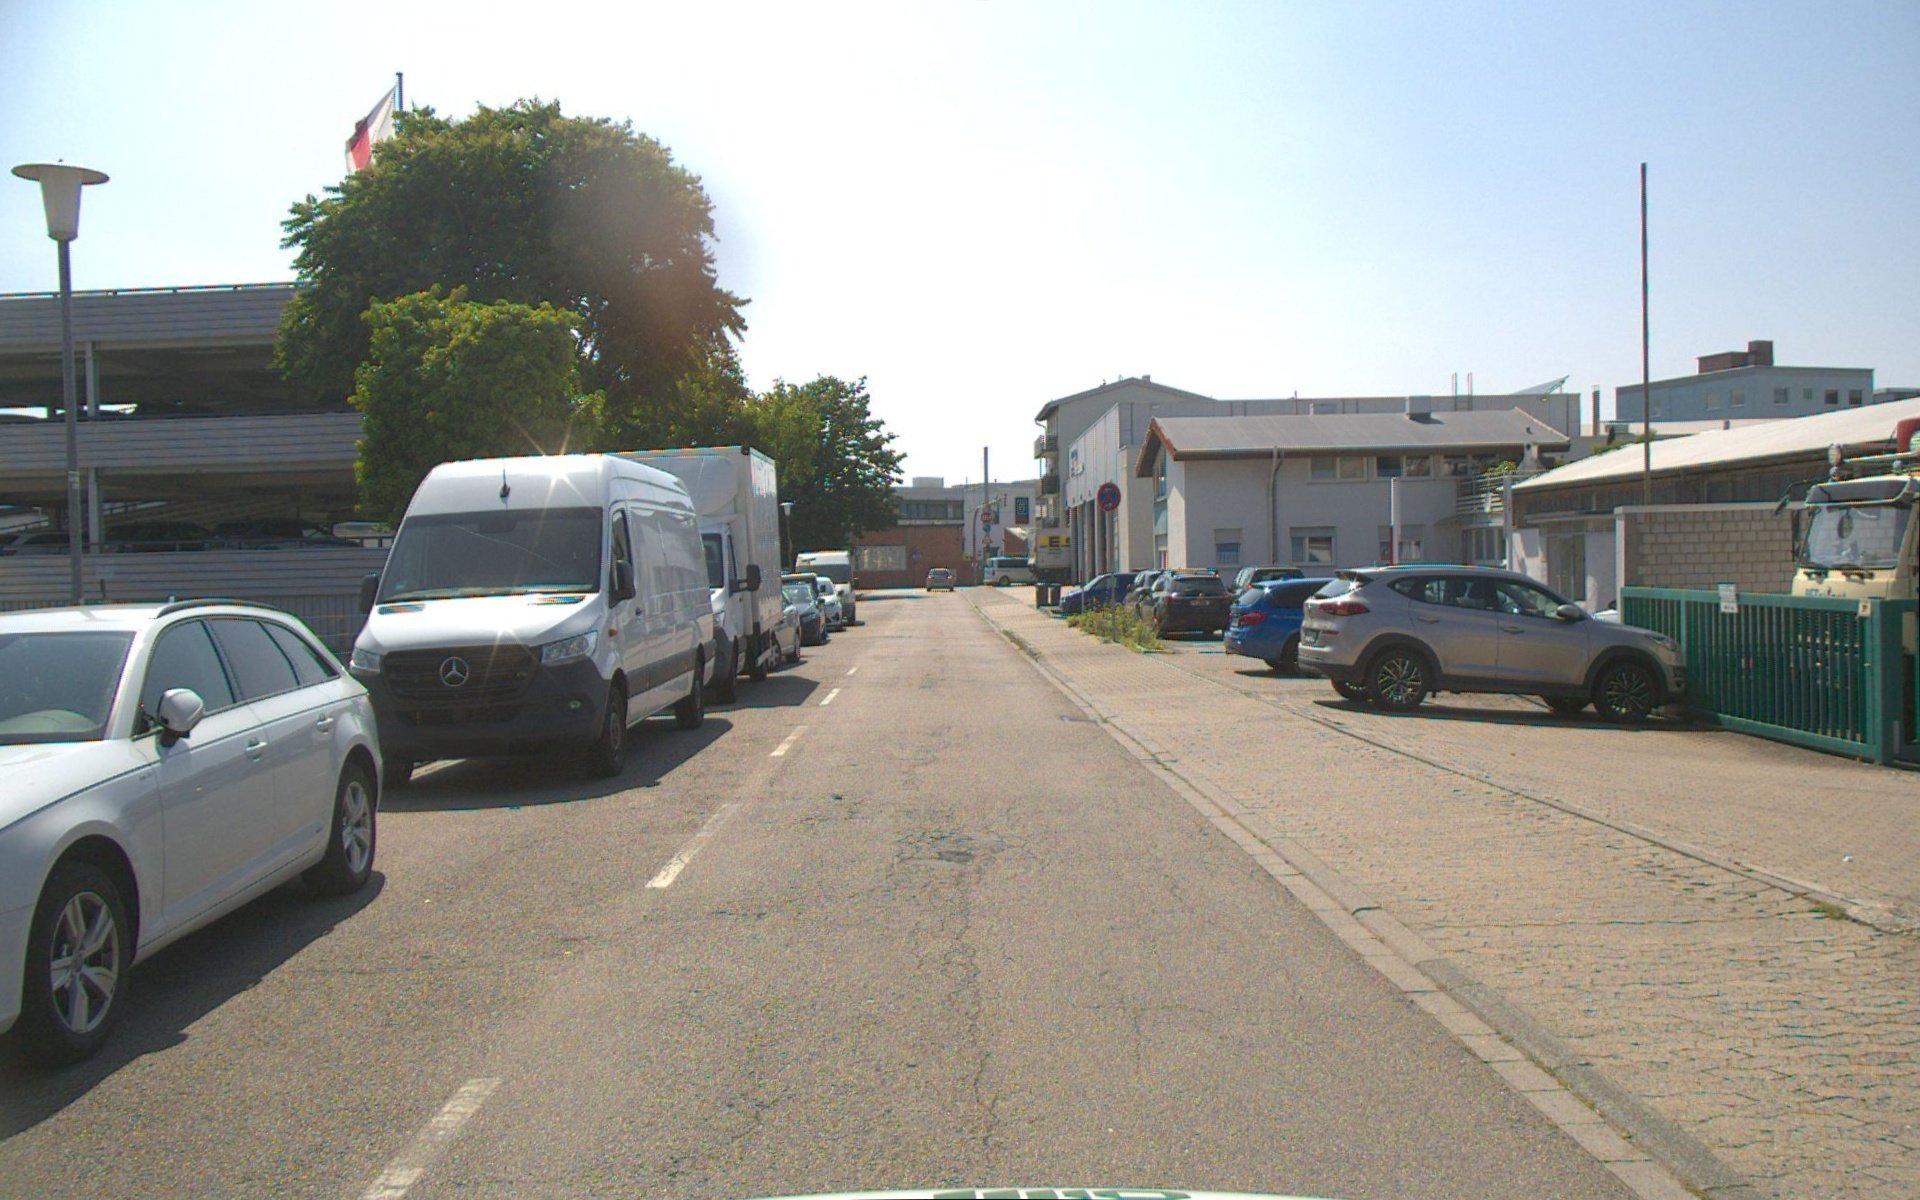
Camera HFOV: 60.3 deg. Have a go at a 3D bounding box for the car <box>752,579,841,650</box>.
[{"bbox_3d":[-3.864,0.307,39.601,1.670,1.488,4.114,-3,1,-1],"label":"car"}]

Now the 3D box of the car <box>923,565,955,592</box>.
[{"bbox_3d":[-1.439,-1.408,110.876,1.853,1.714,3.954,-2,0,-5],"label":"car"}]

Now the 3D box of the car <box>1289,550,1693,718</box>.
[{"bbox_3d":[6.129,0.378,19.412,4.116,1.711,1.766,2,0,-2],"label":"car"}]

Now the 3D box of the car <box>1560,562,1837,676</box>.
[{"bbox_3d":[10.777,0.216,24.534,1.849,1.466,4.452,-2,1,-4],"label":"car"}]

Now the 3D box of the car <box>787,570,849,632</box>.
[{"bbox_3d":[-4.220,-0.006,48.983,1.672,1.652,3.969,-3,1,-5],"label":"car"}]

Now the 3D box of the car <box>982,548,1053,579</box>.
[{"bbox_3d":[4.026,-2.561,115.642,4.586,1.991,1.905,-2,2,-20],"label":"car"}]

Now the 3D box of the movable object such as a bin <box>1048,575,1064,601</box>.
[{"bbox_3d":[3.723,-0.478,64.059,0.502,0.962,0.488,-2,1,10],"label":"movable object such as a bin"}]

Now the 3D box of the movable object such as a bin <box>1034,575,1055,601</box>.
[{"bbox_3d":[3.245,-0.479,63.638,0.557,0.962,0.556,-2,2,32],"label":"movable object such as a bin"}]

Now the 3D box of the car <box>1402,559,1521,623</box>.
[{"bbox_3d":[11.574,-0.252,38.409,1.608,1.347,4.102,-2,1,2],"label":"car"}]

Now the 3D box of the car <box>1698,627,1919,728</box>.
[{"bbox_3d":[10.107,0.877,18.819,2.837,1.021,1.287,1,1,-1],"label":"car"}]

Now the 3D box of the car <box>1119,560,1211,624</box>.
[{"bbox_3d":[5.426,-0.255,44.198,1.775,1.585,4.292,-2,1,-2],"label":"car"}]

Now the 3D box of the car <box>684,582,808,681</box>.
[{"bbox_3d":[-3.762,0.505,29.749,1.706,1.547,4.309,-2,1,-1],"label":"car"}]

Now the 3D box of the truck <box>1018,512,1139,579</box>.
[{"bbox_3d":[7.663,-3.533,107.287,7.221,3.707,2.764,-5,2,-7],"label":"truck"}]

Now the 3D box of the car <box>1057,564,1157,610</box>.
[{"bbox_3d":[4.946,-0.464,56.071,3.187,1.423,1.673,-2,1,-1],"label":"car"}]

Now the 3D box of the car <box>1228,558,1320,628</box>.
[{"bbox_3d":[7.853,-0.209,41.642,1.723,1.622,3.620,1,2,2],"label":"car"}]

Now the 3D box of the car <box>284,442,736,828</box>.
[{"bbox_3d":[-3.677,0.216,15.265,2.124,2.641,6.920,-3,0,0],"label":"car"}]

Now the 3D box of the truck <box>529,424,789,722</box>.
[{"bbox_3d":[-3.931,-0.351,23.185,2.632,3.425,7.125,-2,0,-4],"label":"truck"}]

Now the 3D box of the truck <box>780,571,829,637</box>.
[{"bbox_3d":[-4.242,0.085,45.373,1.116,1.650,3.139,-4,1,-3],"label":"truck"}]

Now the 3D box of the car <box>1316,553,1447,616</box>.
[{"bbox_3d":[11.219,-0.420,44.303,1.729,1.521,4.138,-4,1,-12],"label":"car"}]

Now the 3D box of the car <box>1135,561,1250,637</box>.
[{"bbox_3d":[5.347,-0.079,38.642,1.821,1.595,4.950,-2,1,-2],"label":"car"}]

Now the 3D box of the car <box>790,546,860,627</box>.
[{"bbox_3d":[-4.357,-0.412,54.149,1.965,2.407,5.226,-3,0,-3],"label":"car"}]

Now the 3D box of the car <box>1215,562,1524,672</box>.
[{"bbox_3d":[6.244,0.235,25.539,4.265,1.466,1.892,-2,1,-2],"label":"car"}]

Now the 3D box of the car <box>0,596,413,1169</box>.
[{"bbox_3d":[-3.650,0.833,6.479,1.680,1.570,4.398,-3,1,-3],"label":"car"}]

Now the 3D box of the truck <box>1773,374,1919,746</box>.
[{"bbox_3d":[12.591,-0.304,16.813,7.365,3.482,2.527,1,1,-1],"label":"truck"}]
